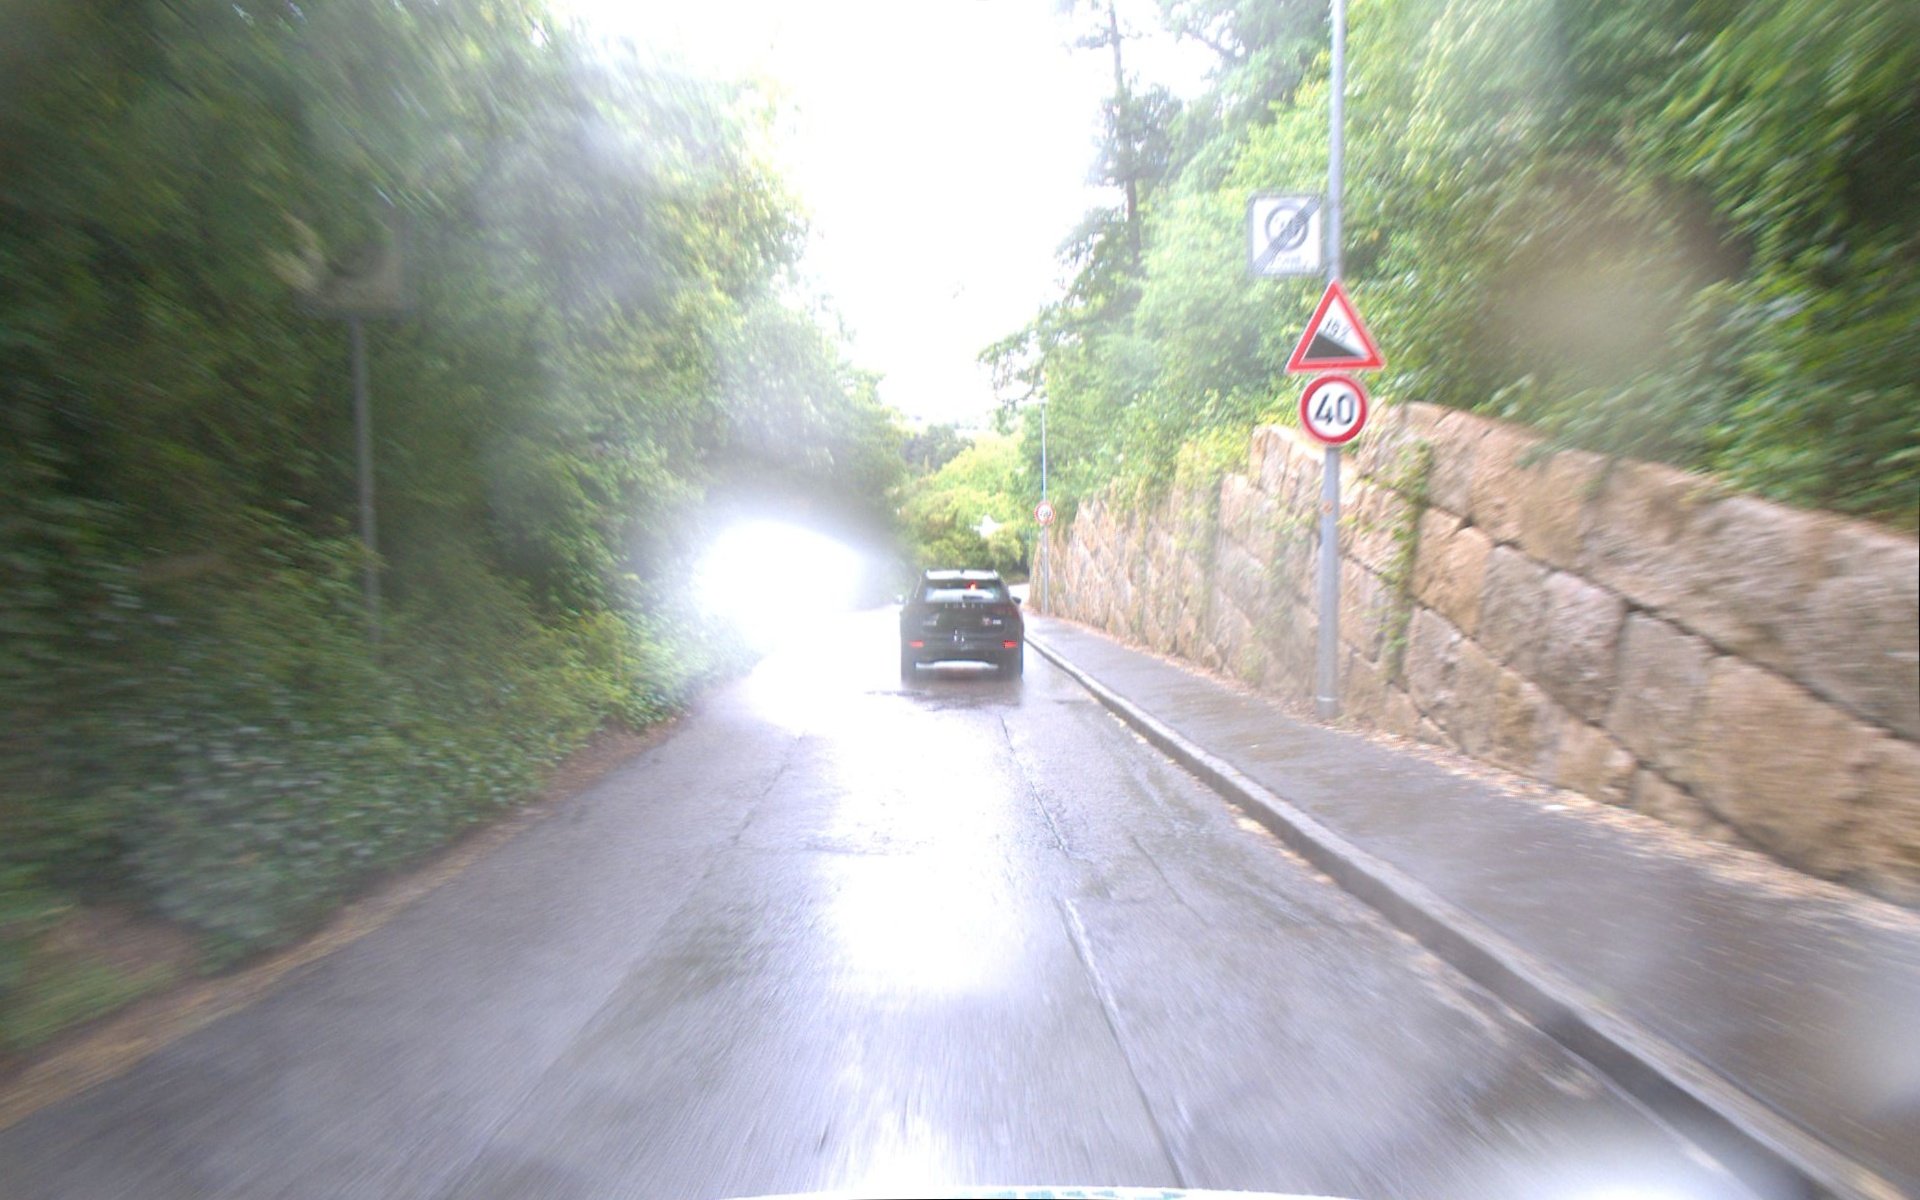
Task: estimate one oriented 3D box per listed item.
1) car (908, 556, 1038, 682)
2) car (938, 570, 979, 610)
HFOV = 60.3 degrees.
[{"bbox_3d":[0.112,0.196,23.989,1.665,1.475,4.000,-1,4,-3],"label":"car"},{"bbox_3d":[-0.073,-0.465,76.690,1.825,1.773,4.000,2,0,0],"label":"car"}]
